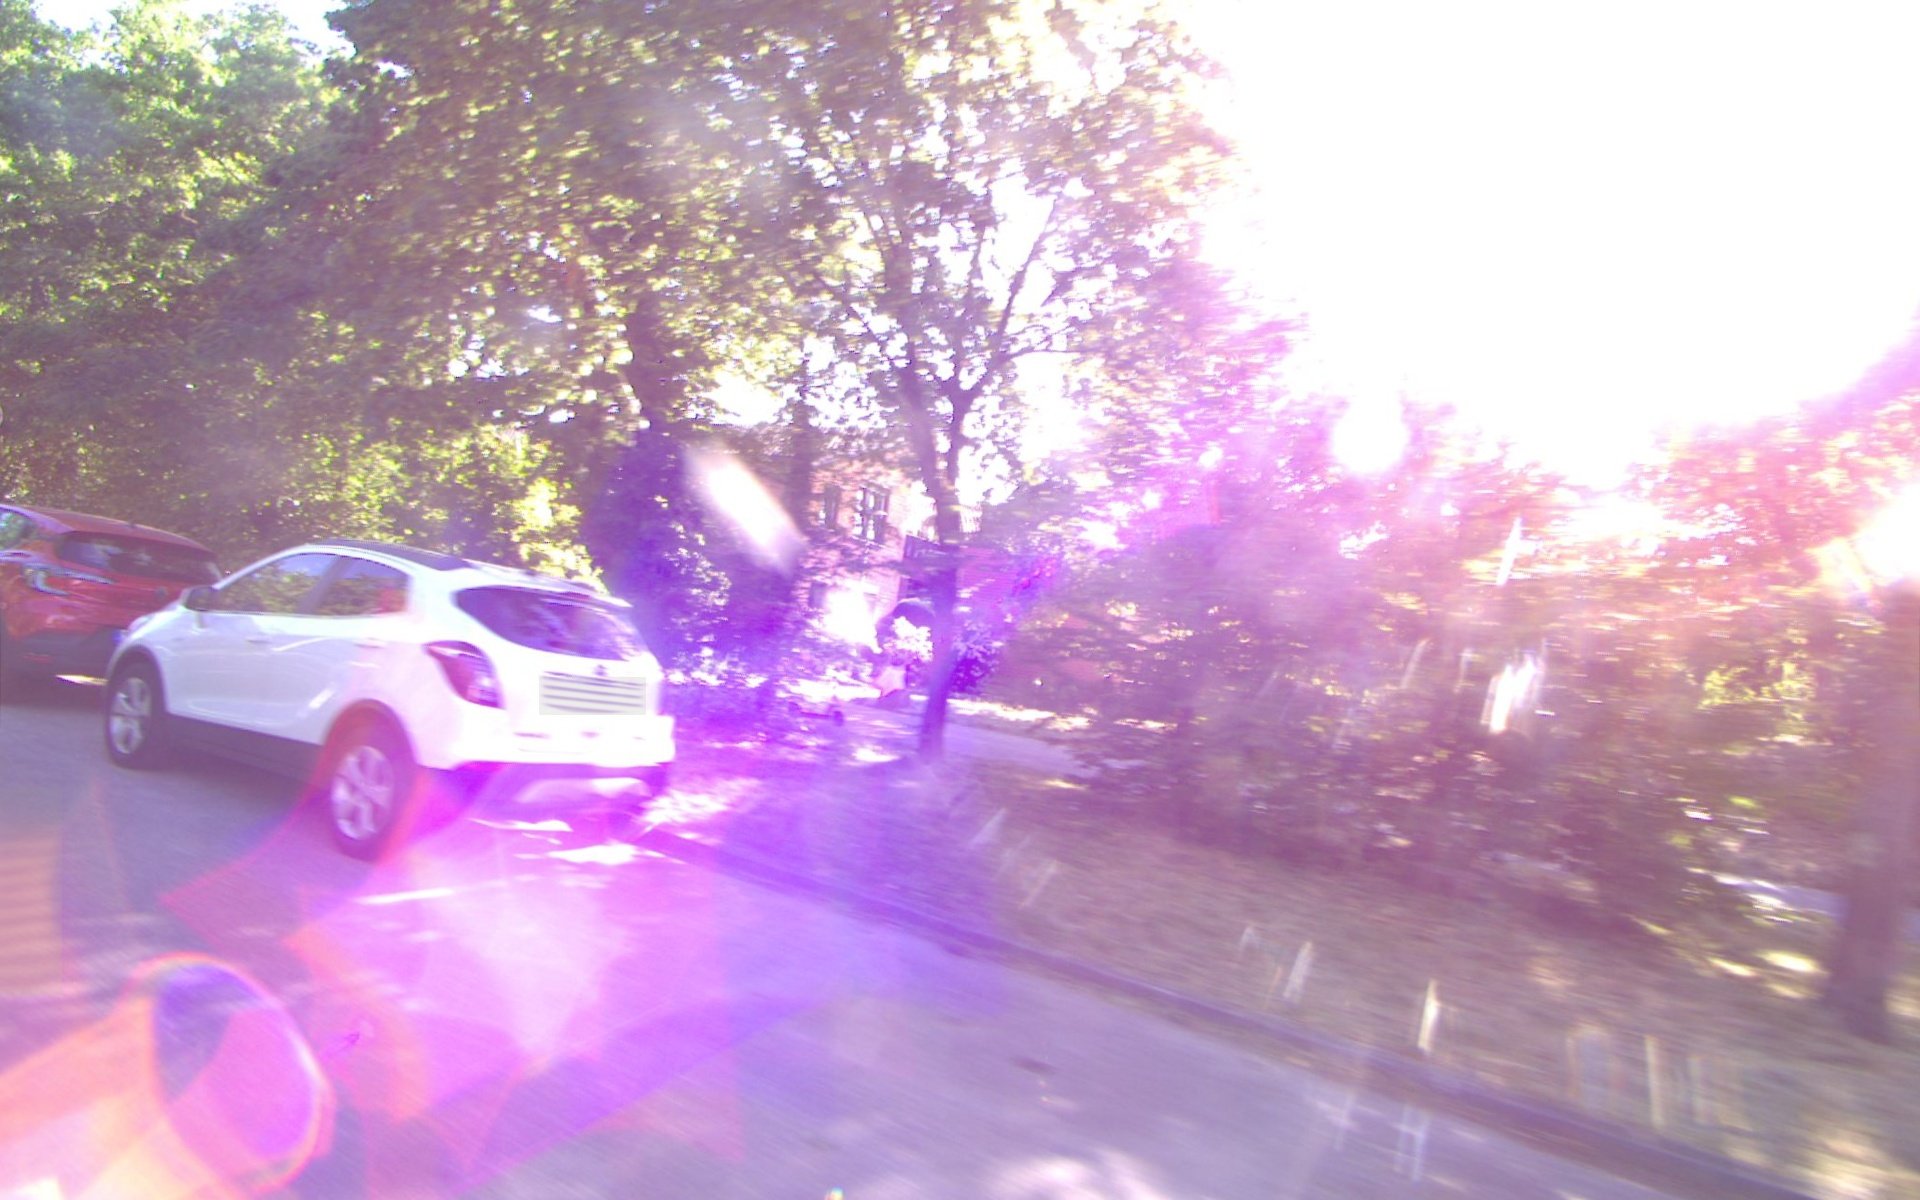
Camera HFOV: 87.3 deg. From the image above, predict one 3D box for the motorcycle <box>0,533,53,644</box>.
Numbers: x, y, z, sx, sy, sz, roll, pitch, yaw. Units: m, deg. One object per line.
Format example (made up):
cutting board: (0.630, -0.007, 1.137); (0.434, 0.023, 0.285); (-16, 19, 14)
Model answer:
motorcycle: (-11.745, -0.231, 12.004); (2.001, 1.208, 0.649); (7, -4, 31)

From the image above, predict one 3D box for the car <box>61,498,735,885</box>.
car: (-3.723, 0.471, 6.604); (3.993, 1.638, 1.783); (7, -4, 28)

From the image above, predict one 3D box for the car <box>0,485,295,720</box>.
car: (-8.250, -0.088, 9.148); (3.993, 1.638, 1.783); (7, -4, 28)
